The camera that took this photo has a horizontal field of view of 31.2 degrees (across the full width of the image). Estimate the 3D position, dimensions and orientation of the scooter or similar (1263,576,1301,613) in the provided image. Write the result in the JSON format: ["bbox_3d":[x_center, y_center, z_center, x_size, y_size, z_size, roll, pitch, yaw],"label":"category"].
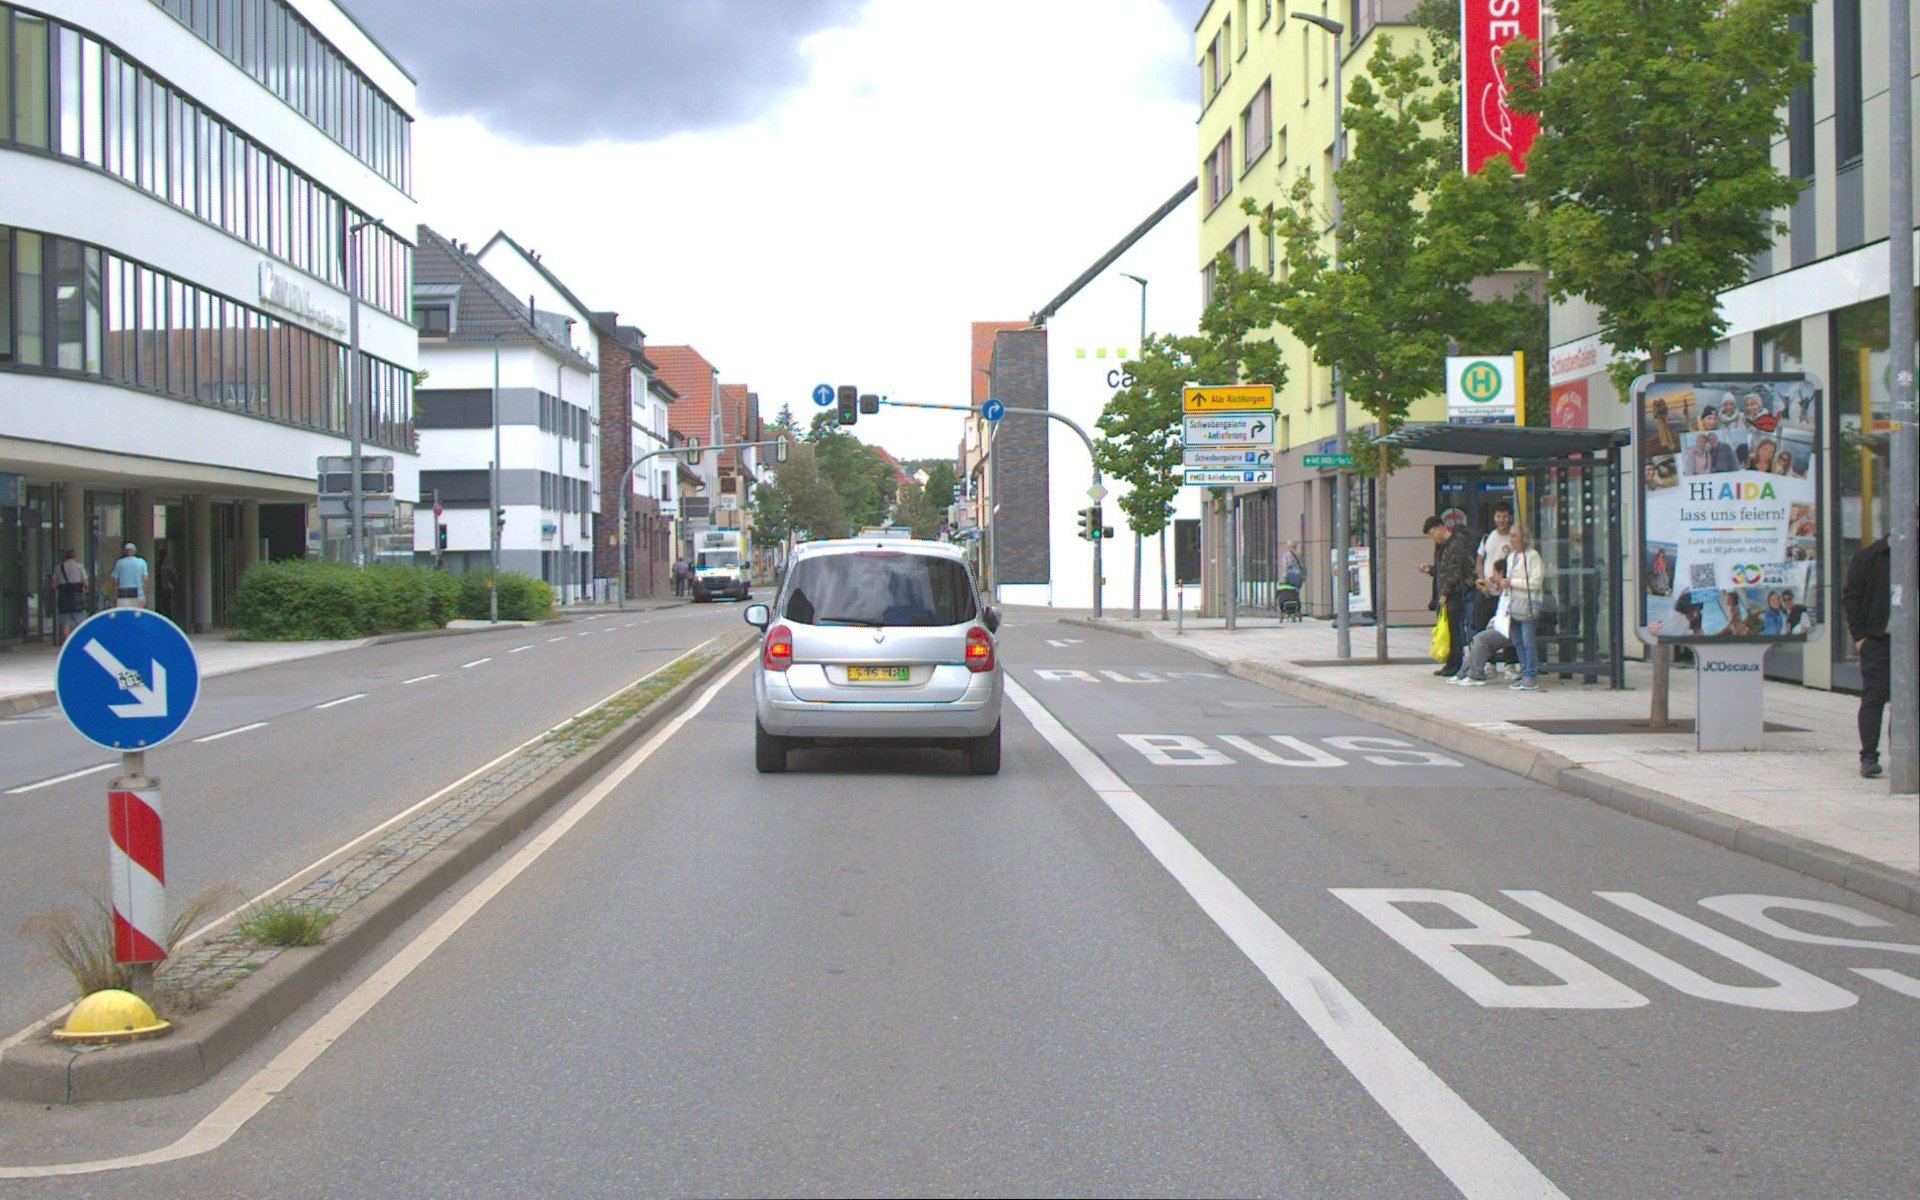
[{"bbox_3d":[6.150,-0.110,65.659,0.592,0.670,0.824,-2,1,-2],"label":"scooter or similar"}]

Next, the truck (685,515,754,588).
[{"bbox_3d":[-10.141,-2.042,145.558,2.435,2.943,8.365,2,1,-1],"label":"truck"}]

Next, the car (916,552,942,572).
[{"bbox_3d":[-2.237,-2.735,245.613,1.812,1.349,4.000,-1,1,0],"label":"car"}]

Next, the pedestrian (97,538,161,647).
[{"bbox_3d":[-12.947,-0.117,53.584,0.730,1.668,0.931,1,1,1],"label":"pedestrian"}]

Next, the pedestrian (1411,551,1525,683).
[{"bbox_3d":[4.949,0.158,33.536,0.942,1.255,0.733,-1,0,-4],"label":"pedestrian"}]

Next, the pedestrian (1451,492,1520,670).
[{"bbox_3d":[5.296,-0.193,34.661,0.579,1.763,0.856,-1,0,4],"label":"pedestrian"}]

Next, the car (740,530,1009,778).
[{"bbox_3d":[-0.602,0.326,24.317,1.706,1.573,4.000,1,1,-1],"label":"car"}]

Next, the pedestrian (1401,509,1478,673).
[{"bbox_3d":[5.012,-0.099,35.966,0.721,1.678,0.732,-1,0,4],"label":"pedestrian"}]

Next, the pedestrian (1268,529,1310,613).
[{"bbox_3d":[6.360,-0.563,66.381,0.695,1.588,0.603,-2,1,-2],"label":"pedestrian"}]

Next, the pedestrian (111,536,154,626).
[{"bbox_3d":[-16.014,-0.366,66.534,0.505,1.724,0.614,0,1,30],"label":"pedestrian"}]

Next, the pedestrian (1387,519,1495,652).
[{"bbox_3d":[5.820,-0.180,41.639,0.947,1.578,1.016,-1,1,-17],"label":"pedestrian"}]

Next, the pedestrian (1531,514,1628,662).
[{"bbox_3d":[6.680,-0.134,37.088,0.868,1.578,0.804,-1,0,-2],"label":"pedestrian"}]

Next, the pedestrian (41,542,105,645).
[{"bbox_3d":[-14.039,-0.111,54.429,0.730,1.607,0.931,1,1,1],"label":"pedestrian"}]

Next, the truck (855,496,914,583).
[{"bbox_3d":[-3.387,-2.717,155.519,2.595,3.844,6.849,0,1,-1],"label":"truck"}]

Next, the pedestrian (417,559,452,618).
[{"bbox_3d":[-15.117,-0.327,98.844,0.881,1.664,0.814,0,3,-2],"label":"pedestrian"}]

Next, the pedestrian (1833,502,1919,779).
[{"bbox_3d":[5.739,0.238,20.984,0.655,1.663,0.614,0,1,-1],"label":"pedestrian"}]

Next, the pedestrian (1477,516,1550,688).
[{"bbox_3d":[5.214,0.015,32.405,0.579,1.585,0.732,-1,0,4],"label":"pedestrian"}]

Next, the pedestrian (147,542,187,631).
[{"bbox_3d":[-15.240,-0.261,66.069,0.613,1.704,0.506,-1,1,-31],"label":"pedestrian"}]
